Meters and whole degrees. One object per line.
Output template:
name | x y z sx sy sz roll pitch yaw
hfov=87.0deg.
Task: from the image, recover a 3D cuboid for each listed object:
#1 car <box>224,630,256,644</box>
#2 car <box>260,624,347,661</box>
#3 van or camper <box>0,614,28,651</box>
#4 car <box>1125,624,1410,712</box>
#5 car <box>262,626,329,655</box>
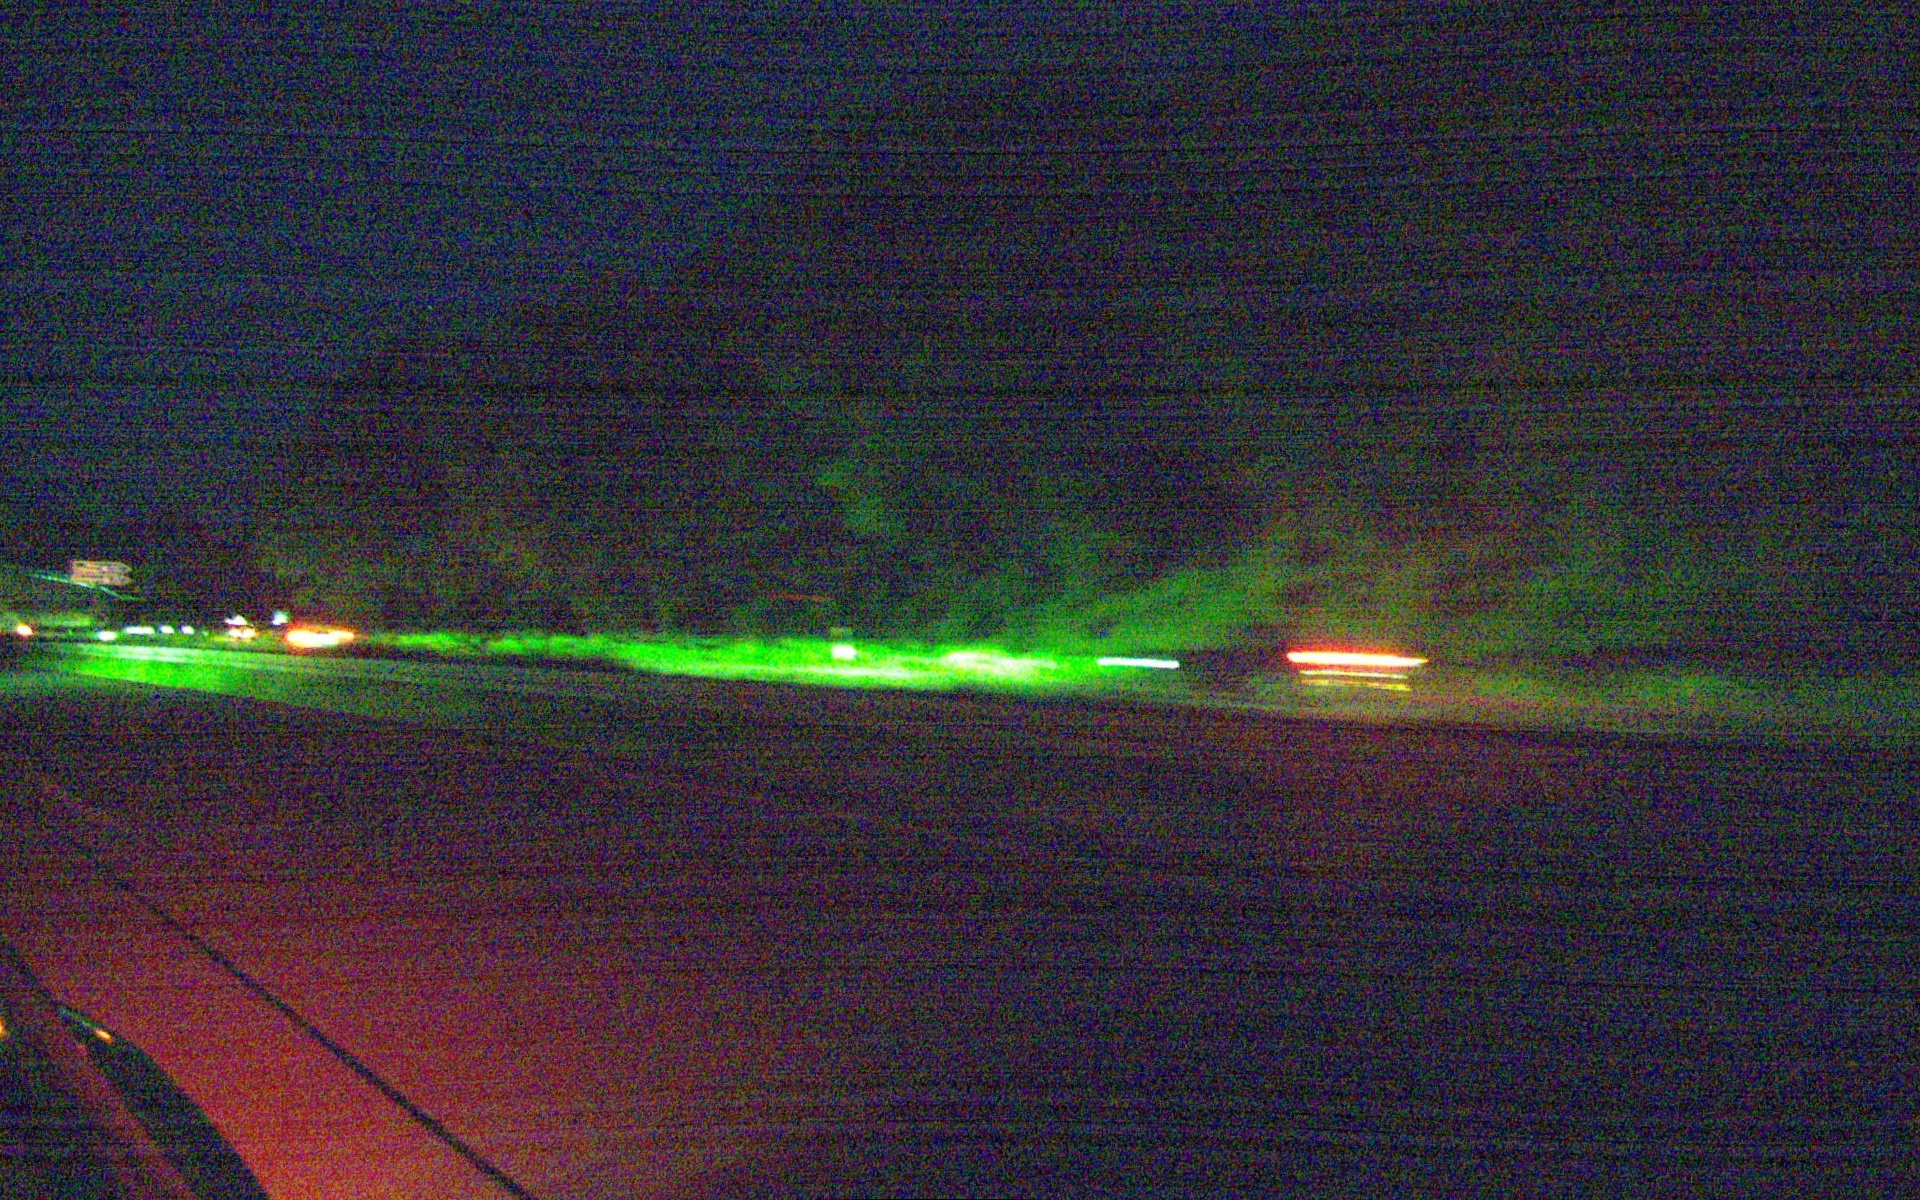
car | -75.297 3.891 105.768 4.474 1.453 1.801 -2 -4 42
car | -27.467 1.766 42.274 4.470 1.468 1.937 -2 -3 42
van or camper | -71.807 2.404 75.247 7.650 2.638 2.274 -2 -3 36
car | 5.674 1.183 19.060 4.840 1.422 1.753 -1 -1 40
car | -35.034 2.139 53.331 4.169 1.468 1.937 -2 -3 42
